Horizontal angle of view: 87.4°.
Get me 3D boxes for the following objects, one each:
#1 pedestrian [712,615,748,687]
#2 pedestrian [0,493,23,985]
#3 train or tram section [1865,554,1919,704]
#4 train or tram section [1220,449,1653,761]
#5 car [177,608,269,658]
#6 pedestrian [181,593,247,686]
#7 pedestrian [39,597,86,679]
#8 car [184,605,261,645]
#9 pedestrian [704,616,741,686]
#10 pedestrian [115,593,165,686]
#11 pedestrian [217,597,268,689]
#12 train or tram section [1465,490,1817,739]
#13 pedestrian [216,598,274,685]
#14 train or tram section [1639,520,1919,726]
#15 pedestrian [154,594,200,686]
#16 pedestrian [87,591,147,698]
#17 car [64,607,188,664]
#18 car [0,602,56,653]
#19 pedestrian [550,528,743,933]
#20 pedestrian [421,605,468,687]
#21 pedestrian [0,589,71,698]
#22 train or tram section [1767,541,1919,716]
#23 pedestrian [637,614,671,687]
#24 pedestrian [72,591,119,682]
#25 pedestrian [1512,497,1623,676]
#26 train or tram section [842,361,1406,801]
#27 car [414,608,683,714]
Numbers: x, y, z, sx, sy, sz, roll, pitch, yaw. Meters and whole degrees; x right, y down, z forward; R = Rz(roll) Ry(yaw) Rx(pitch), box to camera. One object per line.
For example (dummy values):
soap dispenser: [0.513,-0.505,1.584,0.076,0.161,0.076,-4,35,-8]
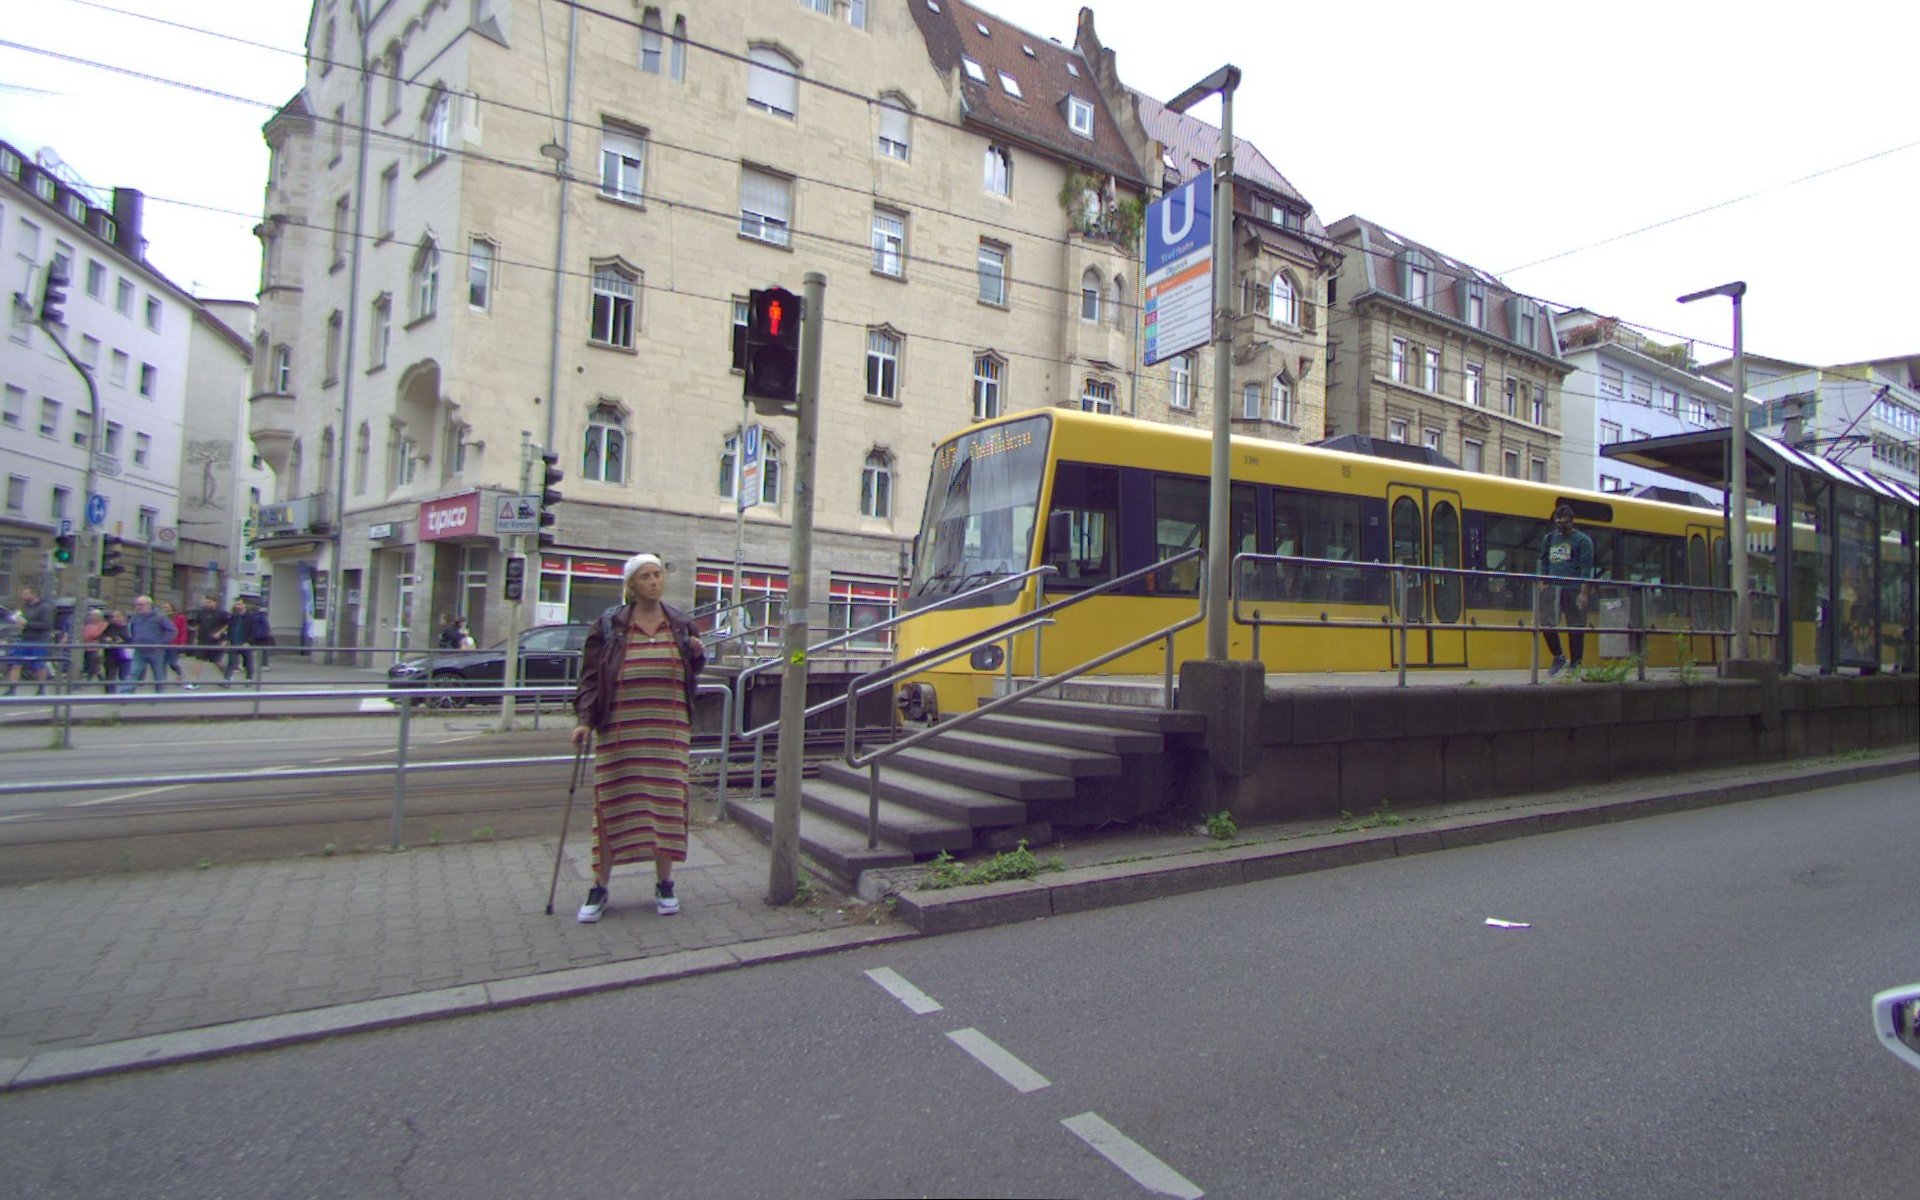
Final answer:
pedestrian: [-5.654,1.257,24.711,0.700,1.728,0.601,2,-2,-25]
pedestrian: [-3.634,0.487,3.139,0.862,1.733,0.632,2,-2,-31]
train or tram section: [26.356,0.809,25.963,5.835,3.715,2.799,2,-1,-31]
train or tram section: [6.777,0.156,14.155,5.686,3.567,2.821,2,-1,-31]
car: [-28.780,1.342,39.364,1.610,1.768,3.772,2,-4,-16]
pedestrian: [-14.889,0.781,20.068,0.654,1.803,0.791,2,-2,0]
pedestrian: [-17.951,0.767,20.104,0.505,1.603,0.573,3,-2,-28]
car: [-34.203,1.172,46.673,1.610,1.768,3.771,2,-2,-16]
pedestrian: [-6.017,1.293,25.409,0.713,1.728,0.780,2,-2,-25]
pedestrian: [-16.193,0.786,19.848,0.569,1.803,0.508,2,-2,-24]
pedestrian: [-14.381,0.859,20.138,0.565,1.803,0.511,2,-2,0]
train or tram section: [11.644,0.310,17.099,5.686,3.567,2.821,2,-1,-31]
pedestrian: [-14.354,0.825,20.181,0.679,1.699,0.674,2,-2,-13]
train or tram section: [16.545,0.495,20.035,5.686,3.567,2.821,2,-1,-31]
pedestrian: [-15.553,0.793,19.974,0.570,1.803,0.508,3,-2,-29]
pedestrian: [-14.606,0.768,17.412,0.567,1.803,0.510,2,-2,-17]
car: [-26.807,1.215,32.448,1.610,1.705,3.772,2,-4,-16]
car: [-31.202,0.841,31.811,1.724,1.581,4.504,3,-2,-12]
pedestrian: [-1.503,0.572,4.787,0.704,1.733,0.682,2,-2,-31]
pedestrian: [-11.613,1.037,22.653,0.808,1.803,0.574,2,-2,-21]
pedestrian: [-15.758,0.733,17.107,0.586,1.803,0.709,2,-2,-15]
train or tram section: [21.416,0.690,22.978,5.686,3.567,2.821,2,-1,-31]
pedestrian: [-7.361,1.207,24.154,0.644,1.728,0.780,2,-2,-25]
pedestrian: [-17.401,0.731,20.224,0.505,1.803,0.573,2,-2,-26]
pedestrian: [6.278,-0.122,10.390,0.663,1.753,0.714,3,-2,-30]
train or tram section: [1.905,-0.065,11.201,5.686,3.727,2.821,2,-1,-31]
car: [-6.926,1.021,16.945,3.953,1.594,1.899,3,-2,-30]
